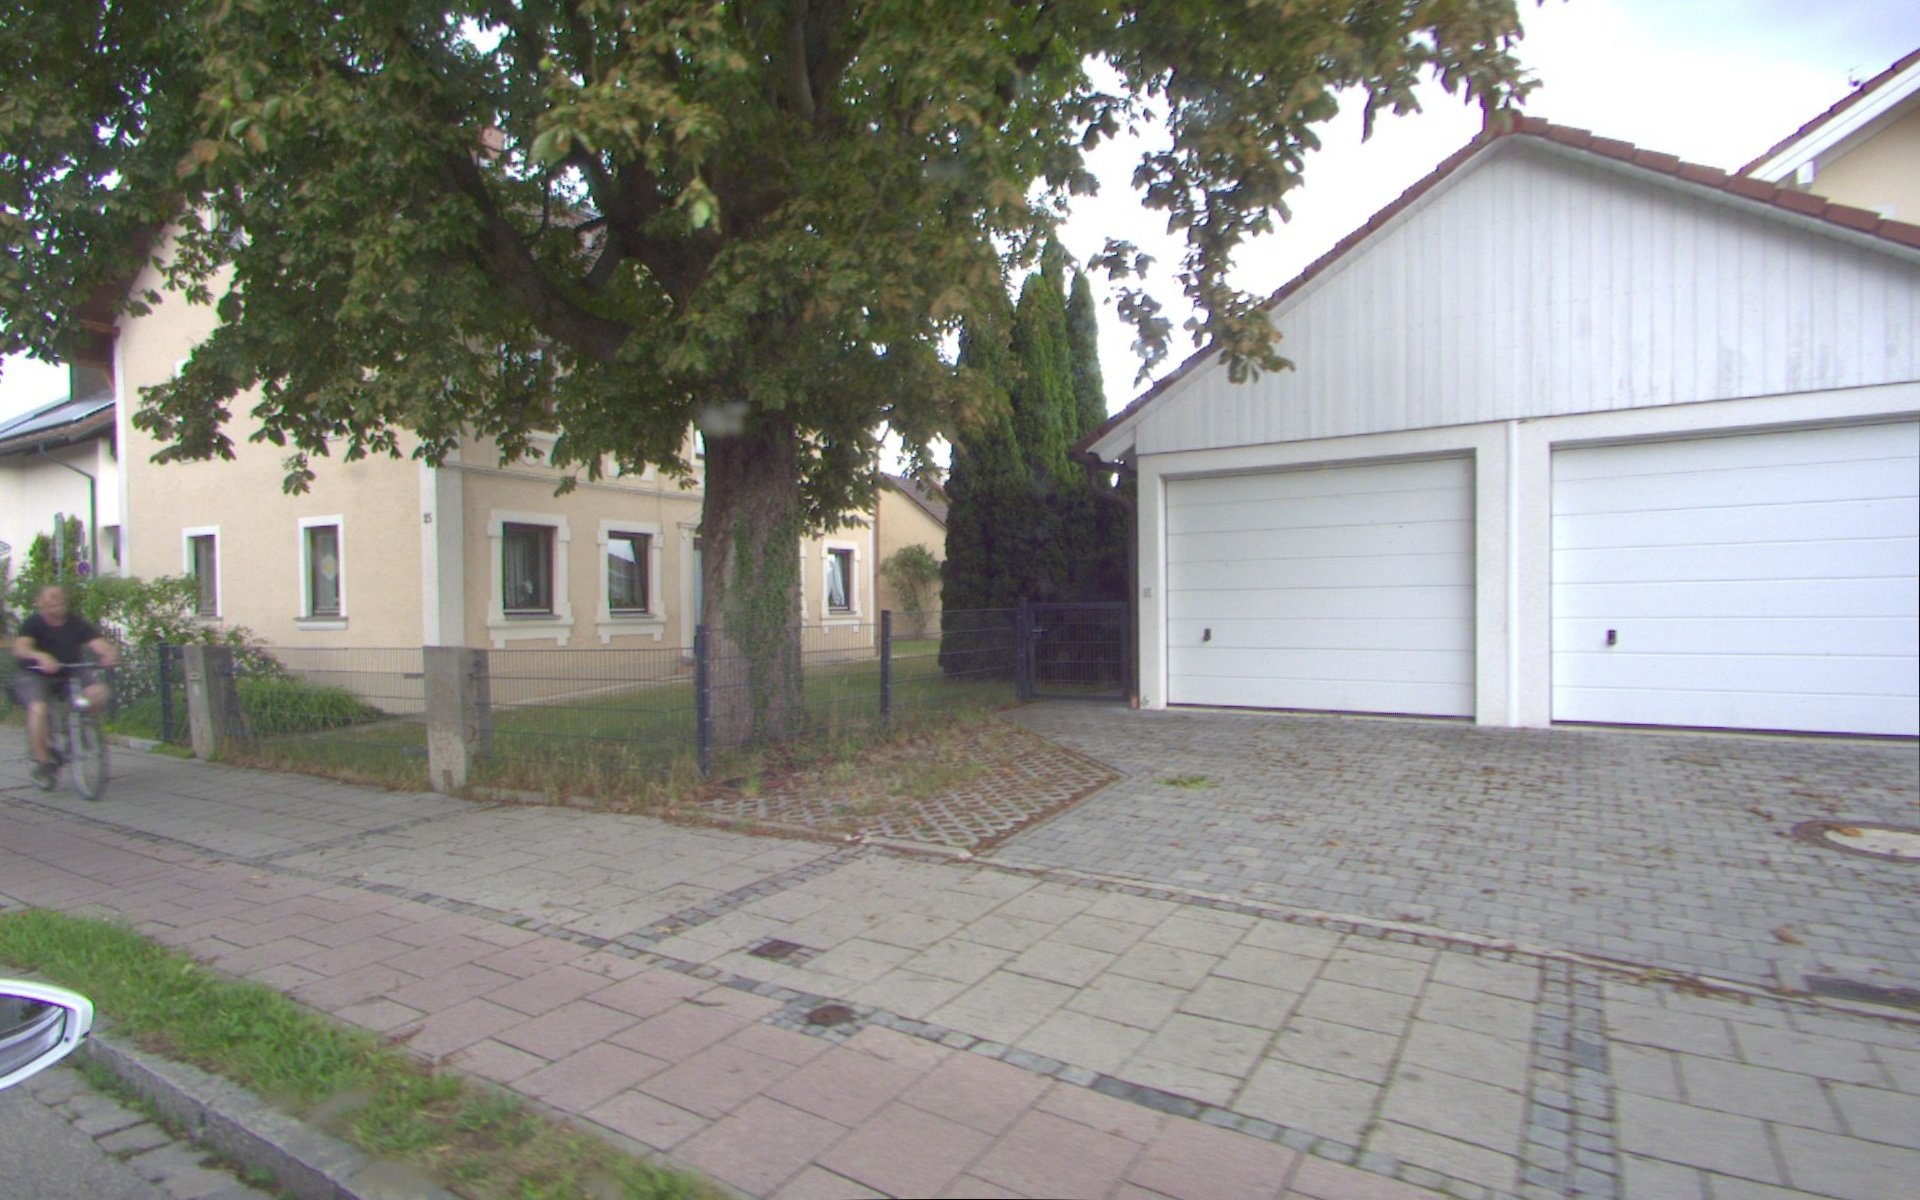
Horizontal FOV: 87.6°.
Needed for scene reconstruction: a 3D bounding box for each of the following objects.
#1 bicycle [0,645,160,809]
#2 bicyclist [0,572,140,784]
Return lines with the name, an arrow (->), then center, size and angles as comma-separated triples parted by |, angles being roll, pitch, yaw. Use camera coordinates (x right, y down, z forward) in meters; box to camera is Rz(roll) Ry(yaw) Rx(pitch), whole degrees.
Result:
bicycle -> -7.490, 0.988, 8.336 | 1.820, 1.159, 0.762 | -1, 2, 34
bicyclist -> -7.471, 0.607, 8.331 | 0.878, 1.655, 0.734 | 0, 1, 34
